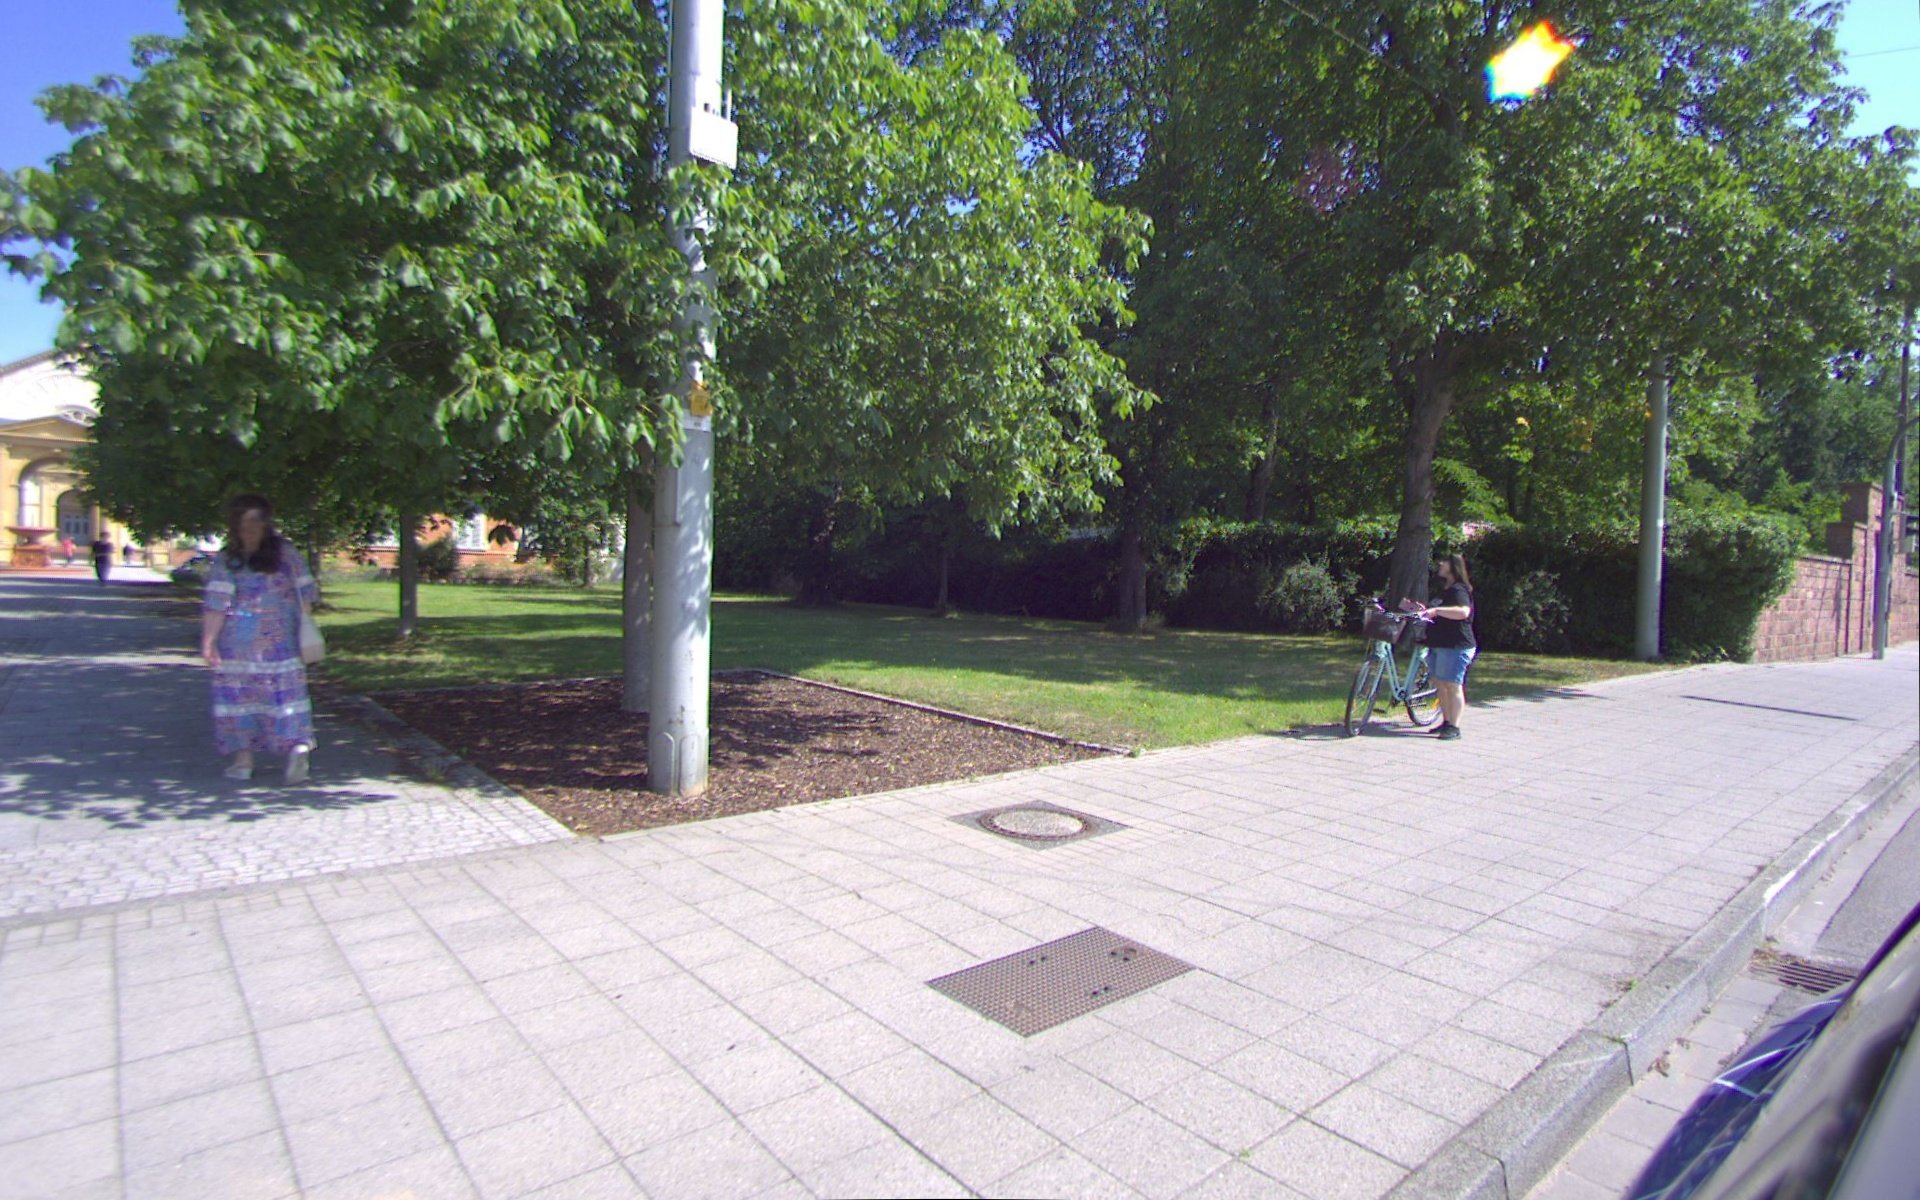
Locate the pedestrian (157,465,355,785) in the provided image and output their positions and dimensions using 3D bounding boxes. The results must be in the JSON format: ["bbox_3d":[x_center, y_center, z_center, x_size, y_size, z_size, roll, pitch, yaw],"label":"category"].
[{"bbox_3d":[-4.033,0.113,5.816,0.700,1.703,0.647,2,1,24],"label":"pedestrian"}]

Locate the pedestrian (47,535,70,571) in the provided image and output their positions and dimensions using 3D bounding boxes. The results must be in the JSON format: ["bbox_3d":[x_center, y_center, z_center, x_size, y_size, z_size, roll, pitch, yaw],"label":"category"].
[{"bbox_3d":[-42.021,-2.186,47.163,0.619,1.620,0.734,3,2,43],"label":"pedestrian"}]

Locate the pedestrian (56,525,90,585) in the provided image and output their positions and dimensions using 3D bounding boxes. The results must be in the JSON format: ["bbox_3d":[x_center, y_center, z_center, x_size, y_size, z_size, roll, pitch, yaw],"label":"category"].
[{"bbox_3d":[-24.668,-1.242,28.155,0.677,1.620,0.867,1,2,-41],"label":"pedestrian"}]

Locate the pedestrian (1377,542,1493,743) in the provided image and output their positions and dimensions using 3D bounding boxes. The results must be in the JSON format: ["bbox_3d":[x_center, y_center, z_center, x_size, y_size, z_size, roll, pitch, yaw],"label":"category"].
[{"bbox_3d":[3.936,0.326,8.393,0.651,1.567,0.542,1,4,-40],"label":"pedestrian"}]

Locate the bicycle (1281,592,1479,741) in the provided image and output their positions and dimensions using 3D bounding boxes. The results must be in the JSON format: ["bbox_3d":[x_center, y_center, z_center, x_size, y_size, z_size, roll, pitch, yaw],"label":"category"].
[{"bbox_3d":[3.549,0.516,8.507,1.770,1.125,0.538,0,3,-30],"label":"bicycle"}]
